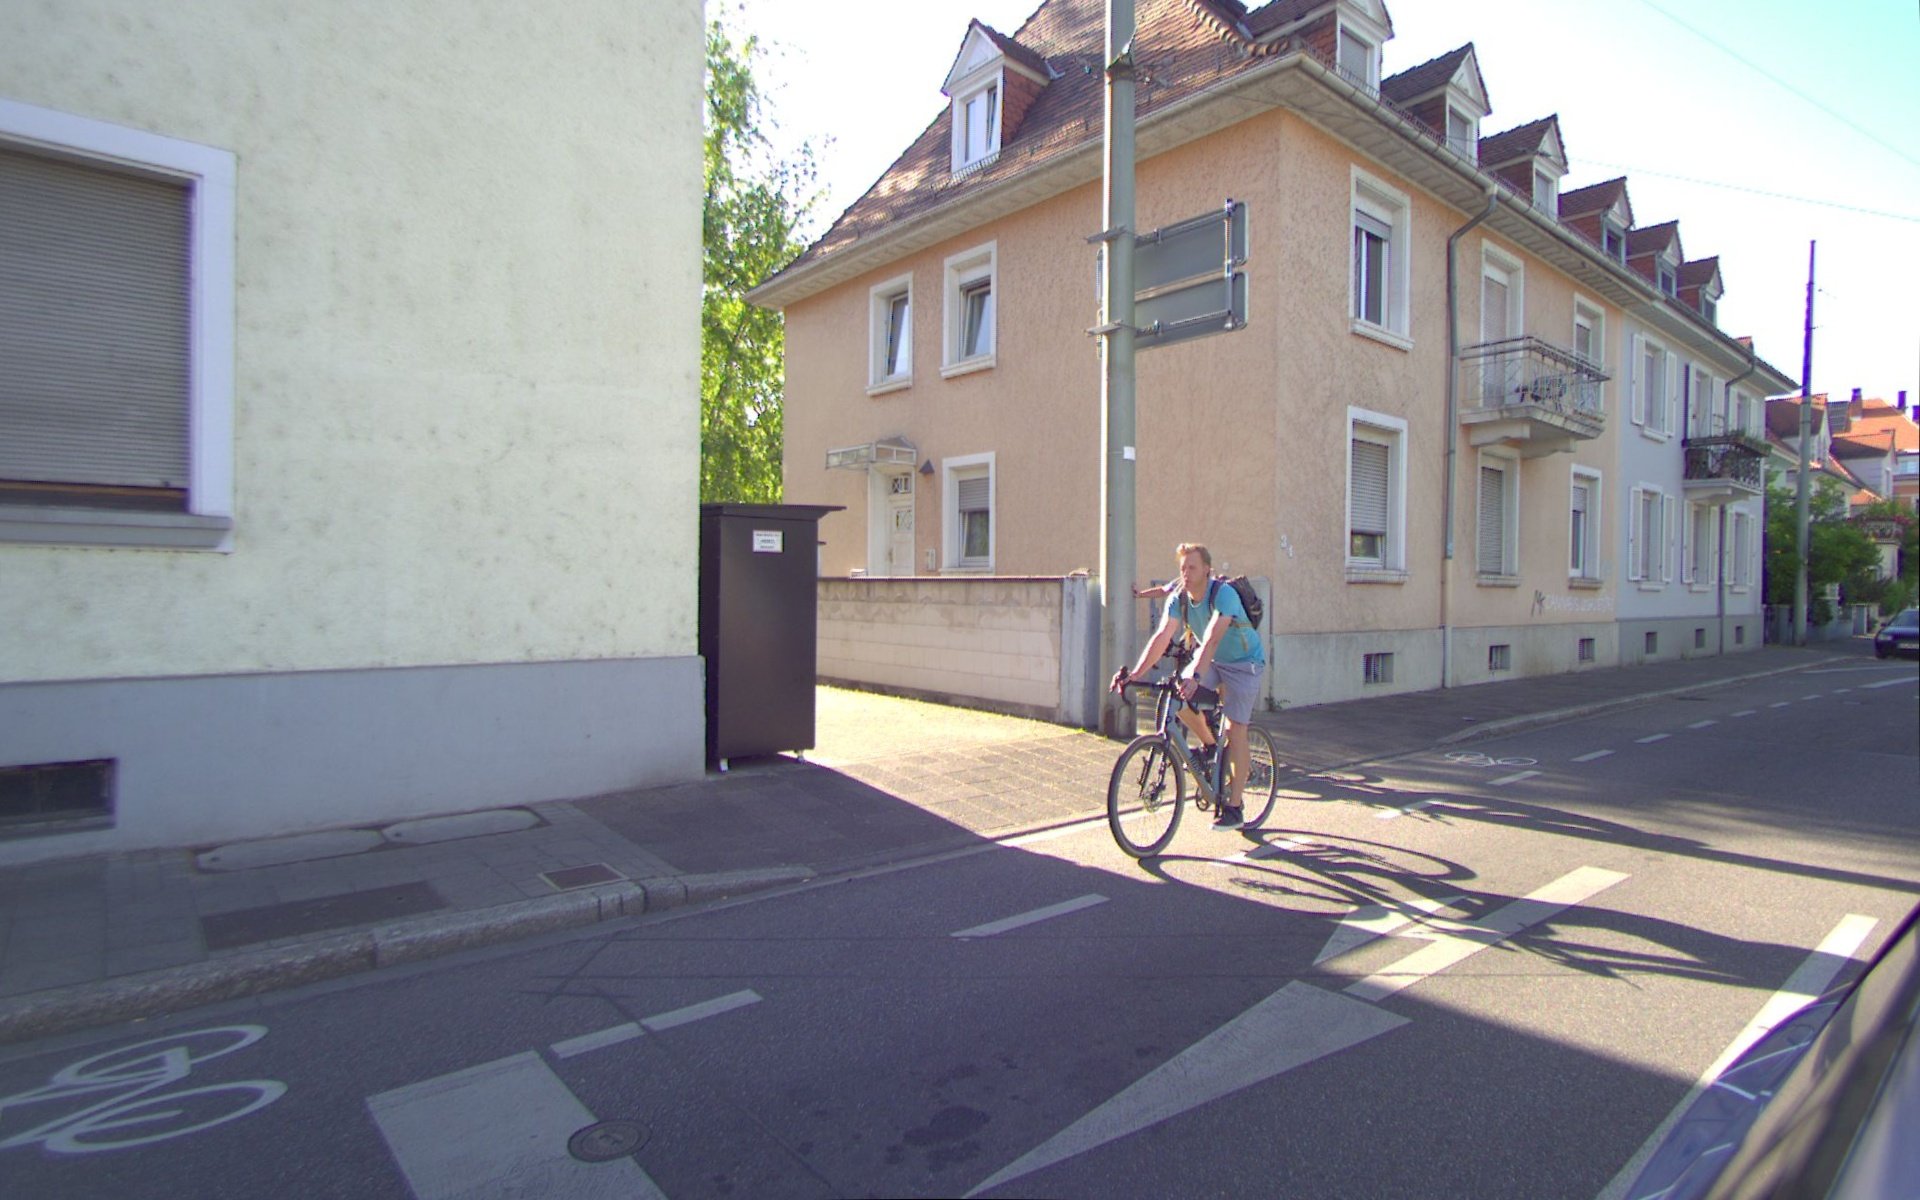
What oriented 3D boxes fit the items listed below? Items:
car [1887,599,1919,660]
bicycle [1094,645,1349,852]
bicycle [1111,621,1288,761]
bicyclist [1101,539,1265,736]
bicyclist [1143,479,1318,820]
[{"bbox_3d":[26.697,0.752,27.374,3.742,1.601,1.696,0,-1,-36],"label":"car"},{"bbox_3d":[1.668,0.855,6.292,1.762,1.105,0.519,3,-1,-37],"label":"bicycle"},{"bbox_3d":[2.213,0.779,9.238,1.744,1.081,0.592,0,5,-41],"label":"bicycle"},{"bbox_3d":[2.045,0.300,9.332,0.870,1.627,1.052,1,5,-41],"label":"bicyclist"},{"bbox_3d":[1.694,0.299,6.307,0.928,1.959,0.519,4,-2,-37],"label":"bicyclist"}]
